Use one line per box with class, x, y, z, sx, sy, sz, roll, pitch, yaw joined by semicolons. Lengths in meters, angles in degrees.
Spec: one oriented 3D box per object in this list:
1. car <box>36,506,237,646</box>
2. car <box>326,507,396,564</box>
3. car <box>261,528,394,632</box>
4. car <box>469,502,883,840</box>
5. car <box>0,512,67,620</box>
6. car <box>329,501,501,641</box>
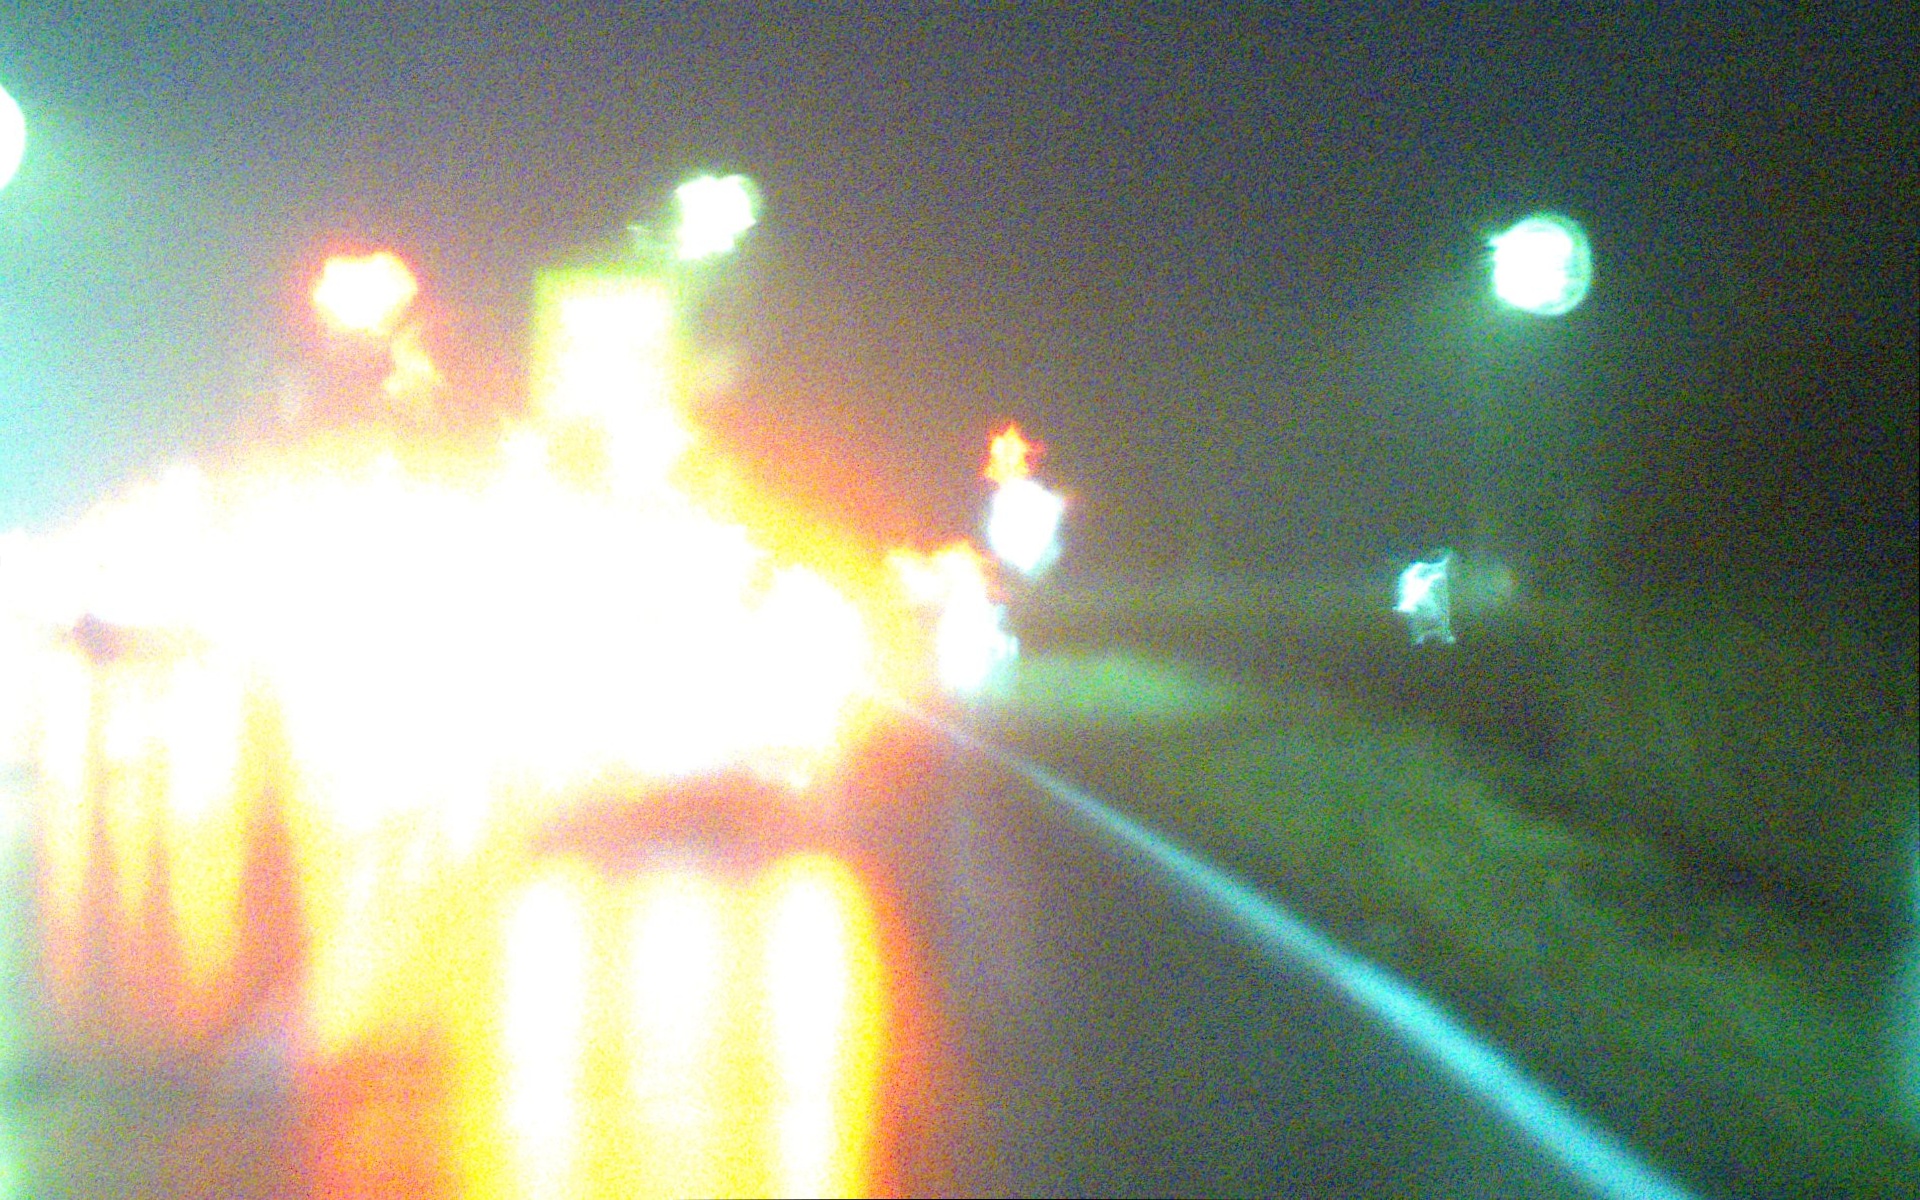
car;-10.454;-0.358;43.965;1.993;1.622;4.986;-2;2;-8
car;-18.260;-1.992;104.710;1.993;1.622;4.986;-2;2;-10
car;-10.807;-0.382;59.008;1.993;1.622;4.986;-2;2;-8
car;-1.523;0.351;19.392;1.993;1.622;4.985;1;0;-3
car;-15.593;-0.562;54.851;1.993;1.622;4.986;-2;2;-8
car;-6.861;-0.419;43.619;1.993;1.622;4.986;-2;2;-8
